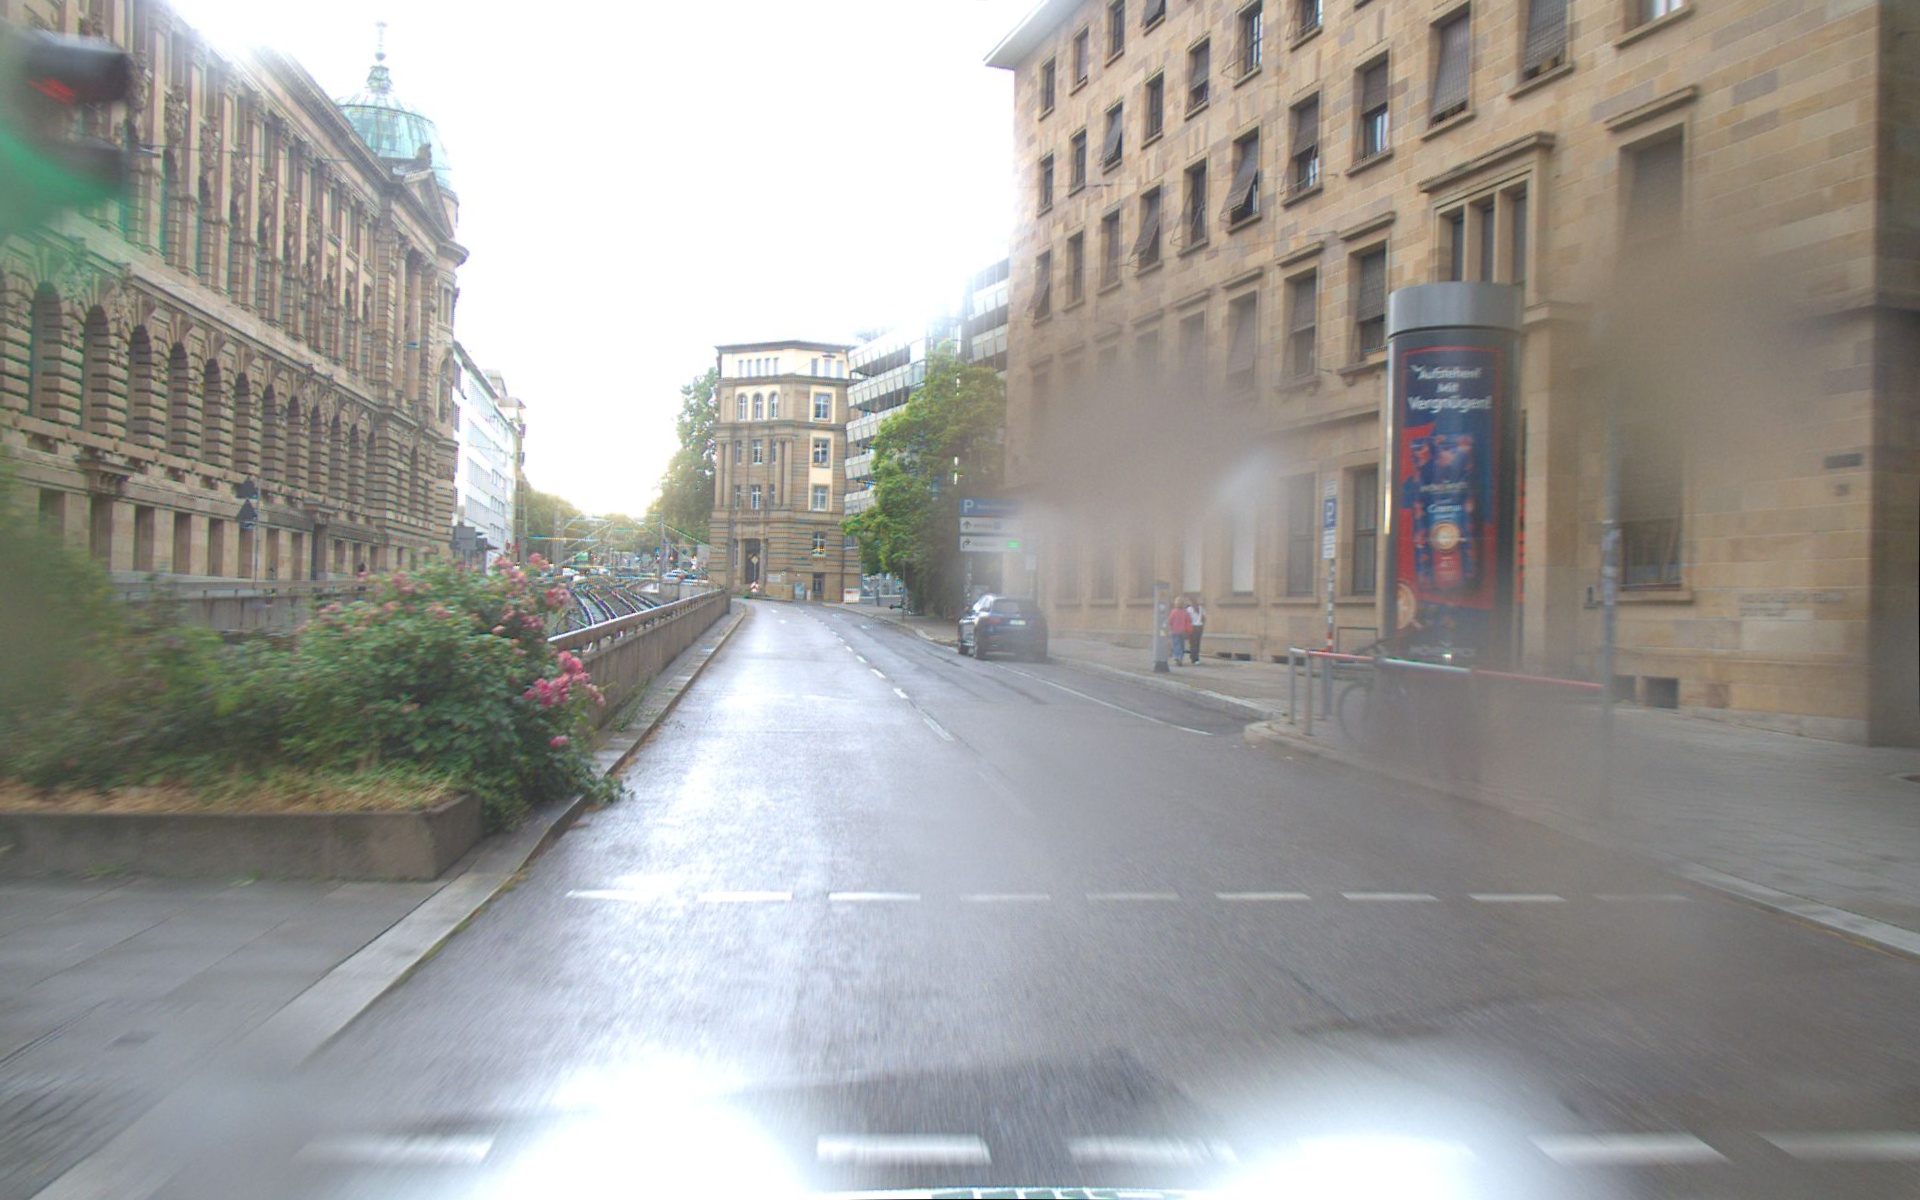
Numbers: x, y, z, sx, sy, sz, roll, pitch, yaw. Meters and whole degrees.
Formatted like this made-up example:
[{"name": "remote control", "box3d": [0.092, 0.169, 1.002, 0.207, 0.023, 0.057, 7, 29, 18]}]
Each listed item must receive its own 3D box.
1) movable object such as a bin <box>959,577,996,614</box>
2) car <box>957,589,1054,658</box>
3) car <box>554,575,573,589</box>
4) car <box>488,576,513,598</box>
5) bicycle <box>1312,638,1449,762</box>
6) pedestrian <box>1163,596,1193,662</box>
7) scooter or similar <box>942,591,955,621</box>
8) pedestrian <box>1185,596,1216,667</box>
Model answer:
[{"name": "movable object such as a bin", "box3d": [0.625, -0.173, 60.464, 1.215, 1.333, 1.232, 0, 0, -6]}, {"name": "car", "box3d": [1.140, 0.591, 43.070, 1.736, 1.647, 4.148, 2, 0, -9]}, {"name": "car", "box3d": [-45.516, -2.073, 190.020, 1.959, 1.554, 3.651, 3, 0, -12]}, {"name": "car", "box3d": [-43.287, -1.249, 155.907, 1.959, 1.915, 4.912, 3, 0, -12]}, {"name": "bicycle", "box3d": [3.902, 0.899, 15.492, 0.480, 1.030, 1.923, 2, 0, -9]}, {"name": "pedestrian", "box3d": [5.085, 0.666, 38.574, 0.514, 1.518, 0.673, 2, 0, -5]}, {"name": "scooter or similar", "box3d": [-0.512, 0.244, 71.982, 0.438, 1.281, 1.209, 0, 1, -7]}, {"name": "pedestrian", "box3d": [5.637, 0.727, 38.786, 0.514, 1.630, 0.672, 2, 0, -8]}]
